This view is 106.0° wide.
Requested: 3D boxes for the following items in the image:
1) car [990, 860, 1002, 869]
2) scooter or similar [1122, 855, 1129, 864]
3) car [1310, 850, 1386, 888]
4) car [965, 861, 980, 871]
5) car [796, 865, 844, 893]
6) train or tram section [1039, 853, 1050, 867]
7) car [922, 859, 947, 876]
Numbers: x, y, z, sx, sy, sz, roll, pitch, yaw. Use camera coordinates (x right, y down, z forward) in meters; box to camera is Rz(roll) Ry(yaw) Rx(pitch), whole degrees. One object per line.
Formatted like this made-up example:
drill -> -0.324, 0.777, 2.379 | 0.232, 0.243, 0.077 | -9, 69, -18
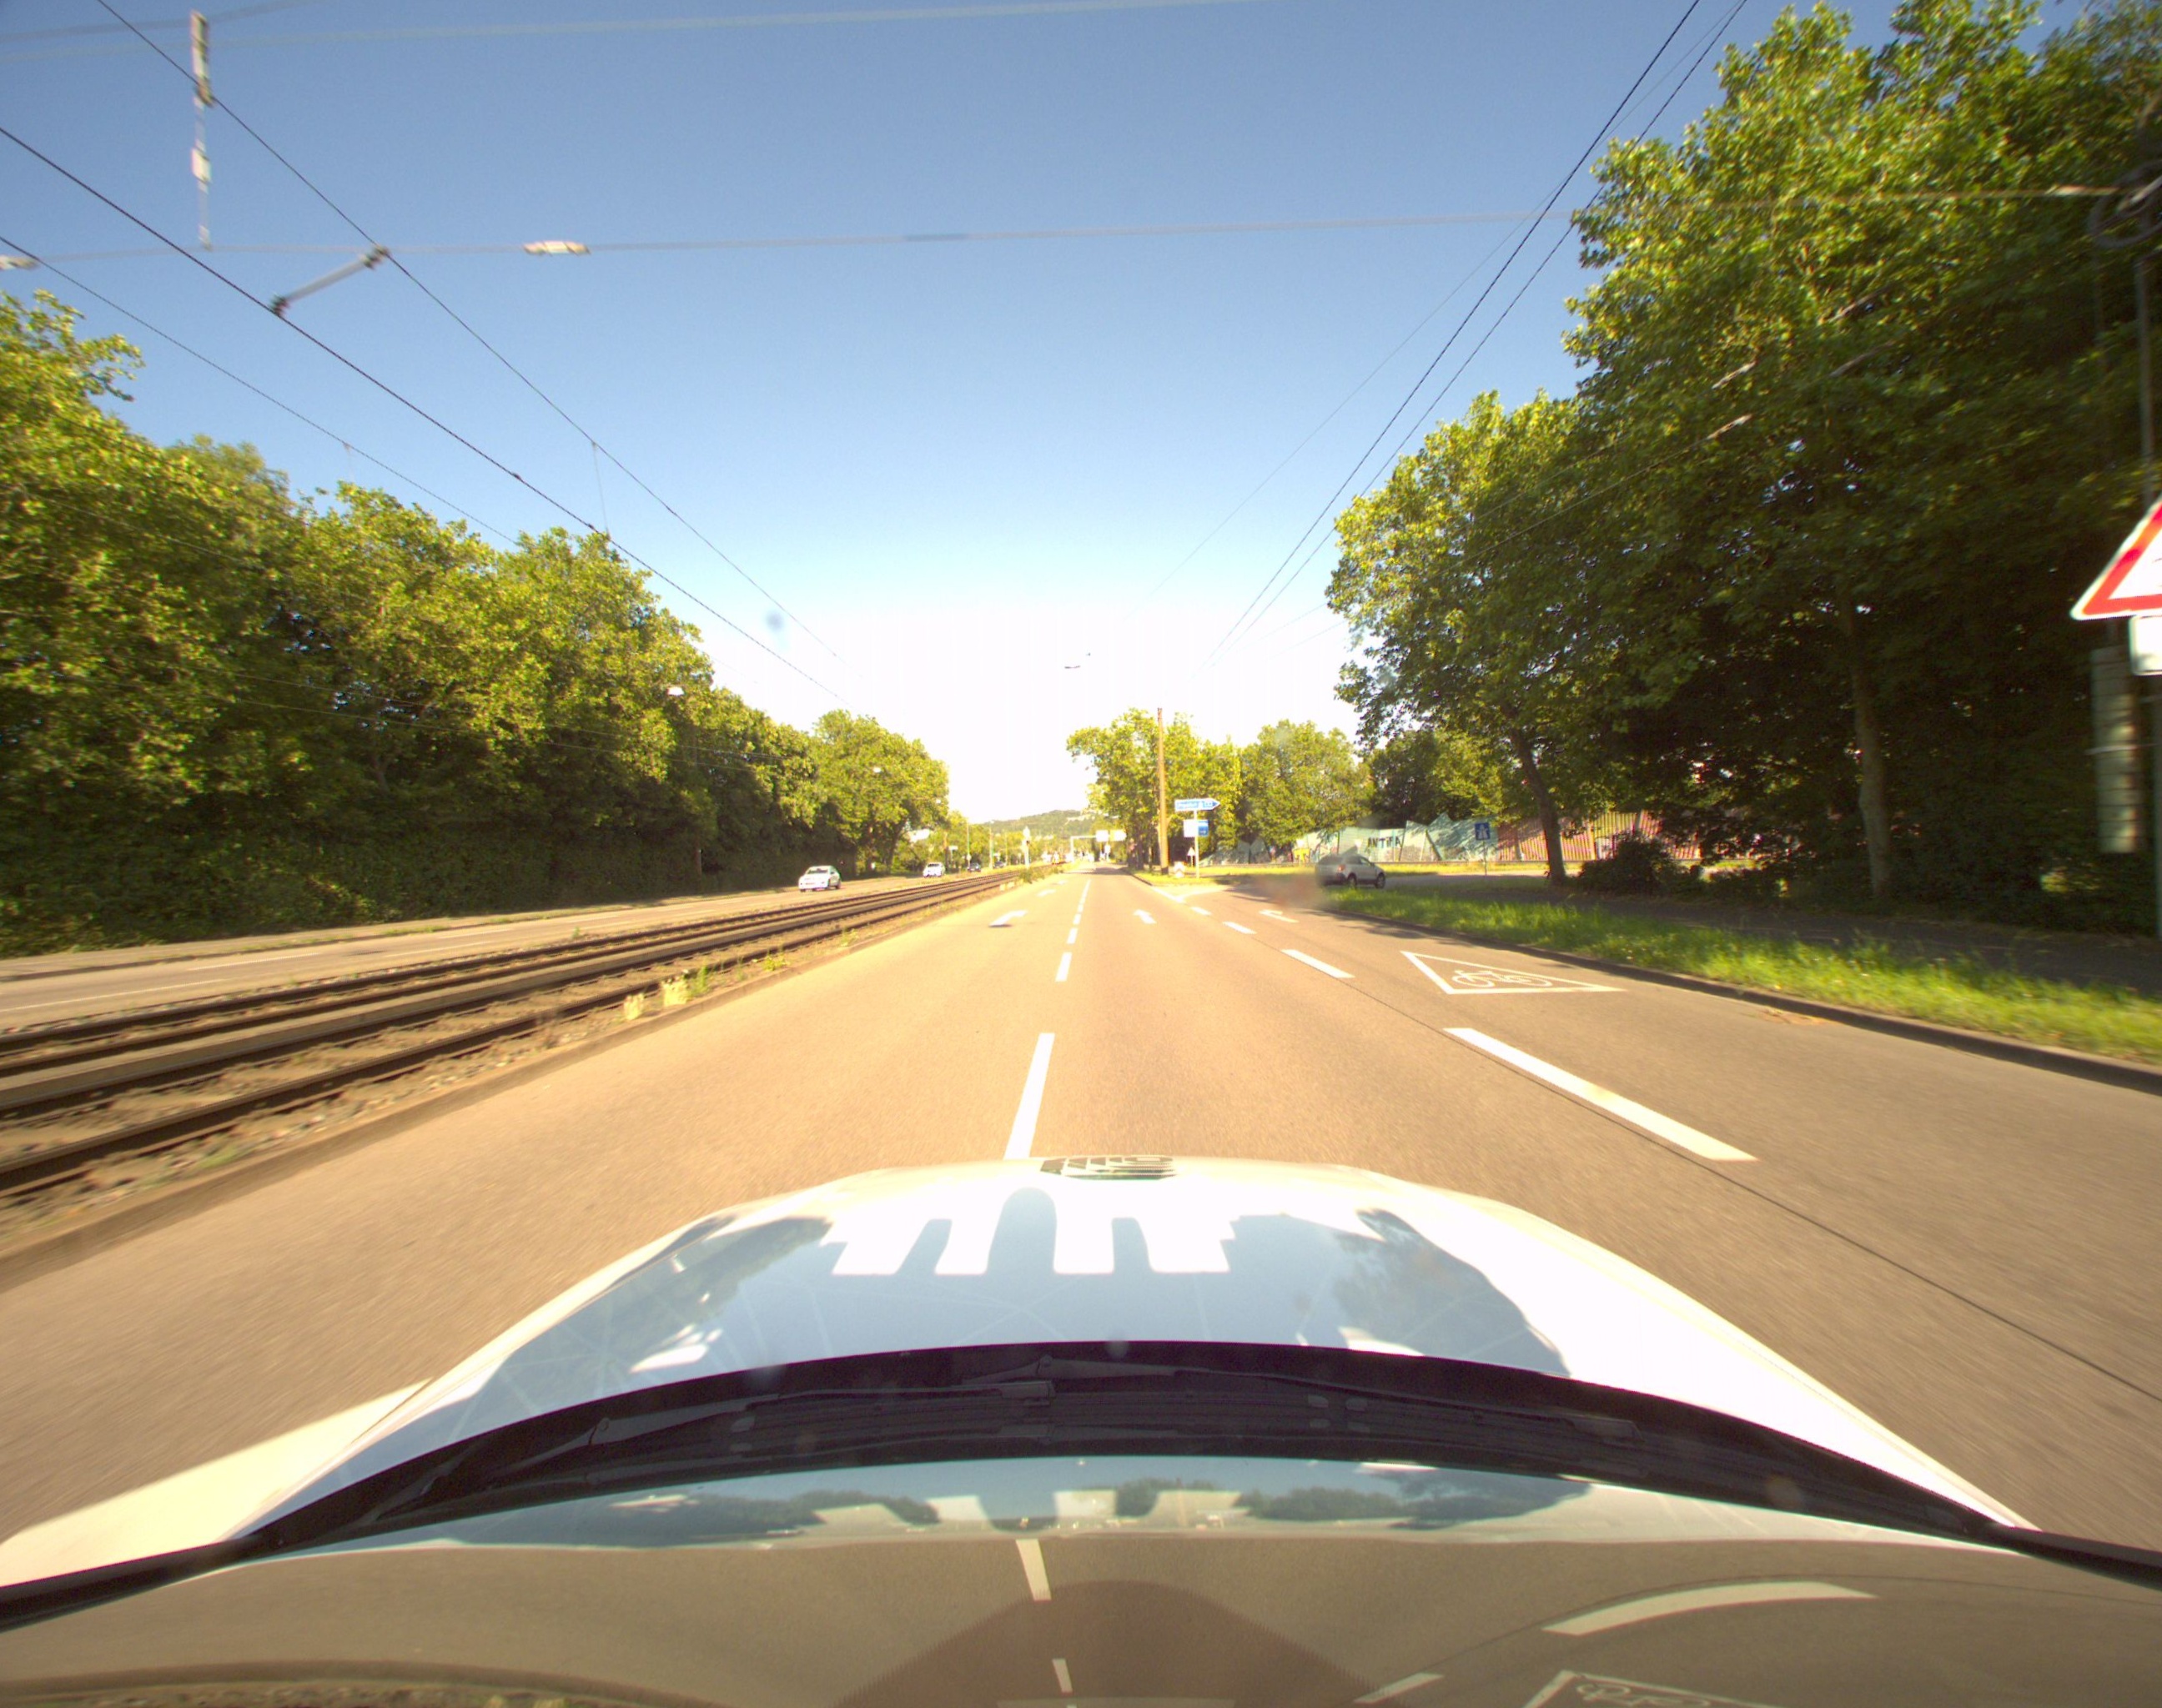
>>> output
car -> -17.563, 2.160, 168.302 | 1.893, 1.694, 4.938 | -4, 0, -1
scooter or similar -> 13.678, 1.835, 250.773 | 1.675, 2.716, 4.869 | -1, 0, 1
car -> 13.174, 0.725, 40.156 | 3.882, 1.773, 1.793 | 0, -1, -41
car -> -17.472, 1.932, 131.441 | 1.706, 1.468, 4.345 | -4, 0, -1
car -> -18.014, 1.668, 56.440 | 1.842, 1.734, 4.927 | -4, -1, -2
train or tram section -> -10.925, 1.850, 247.663 | 2.795, 3.903, 12.329 | -1, -1, 0
car -> -16.896, 1.534, 94.040 | 1.957, 1.707, 4.941 | -4, -1, -2
